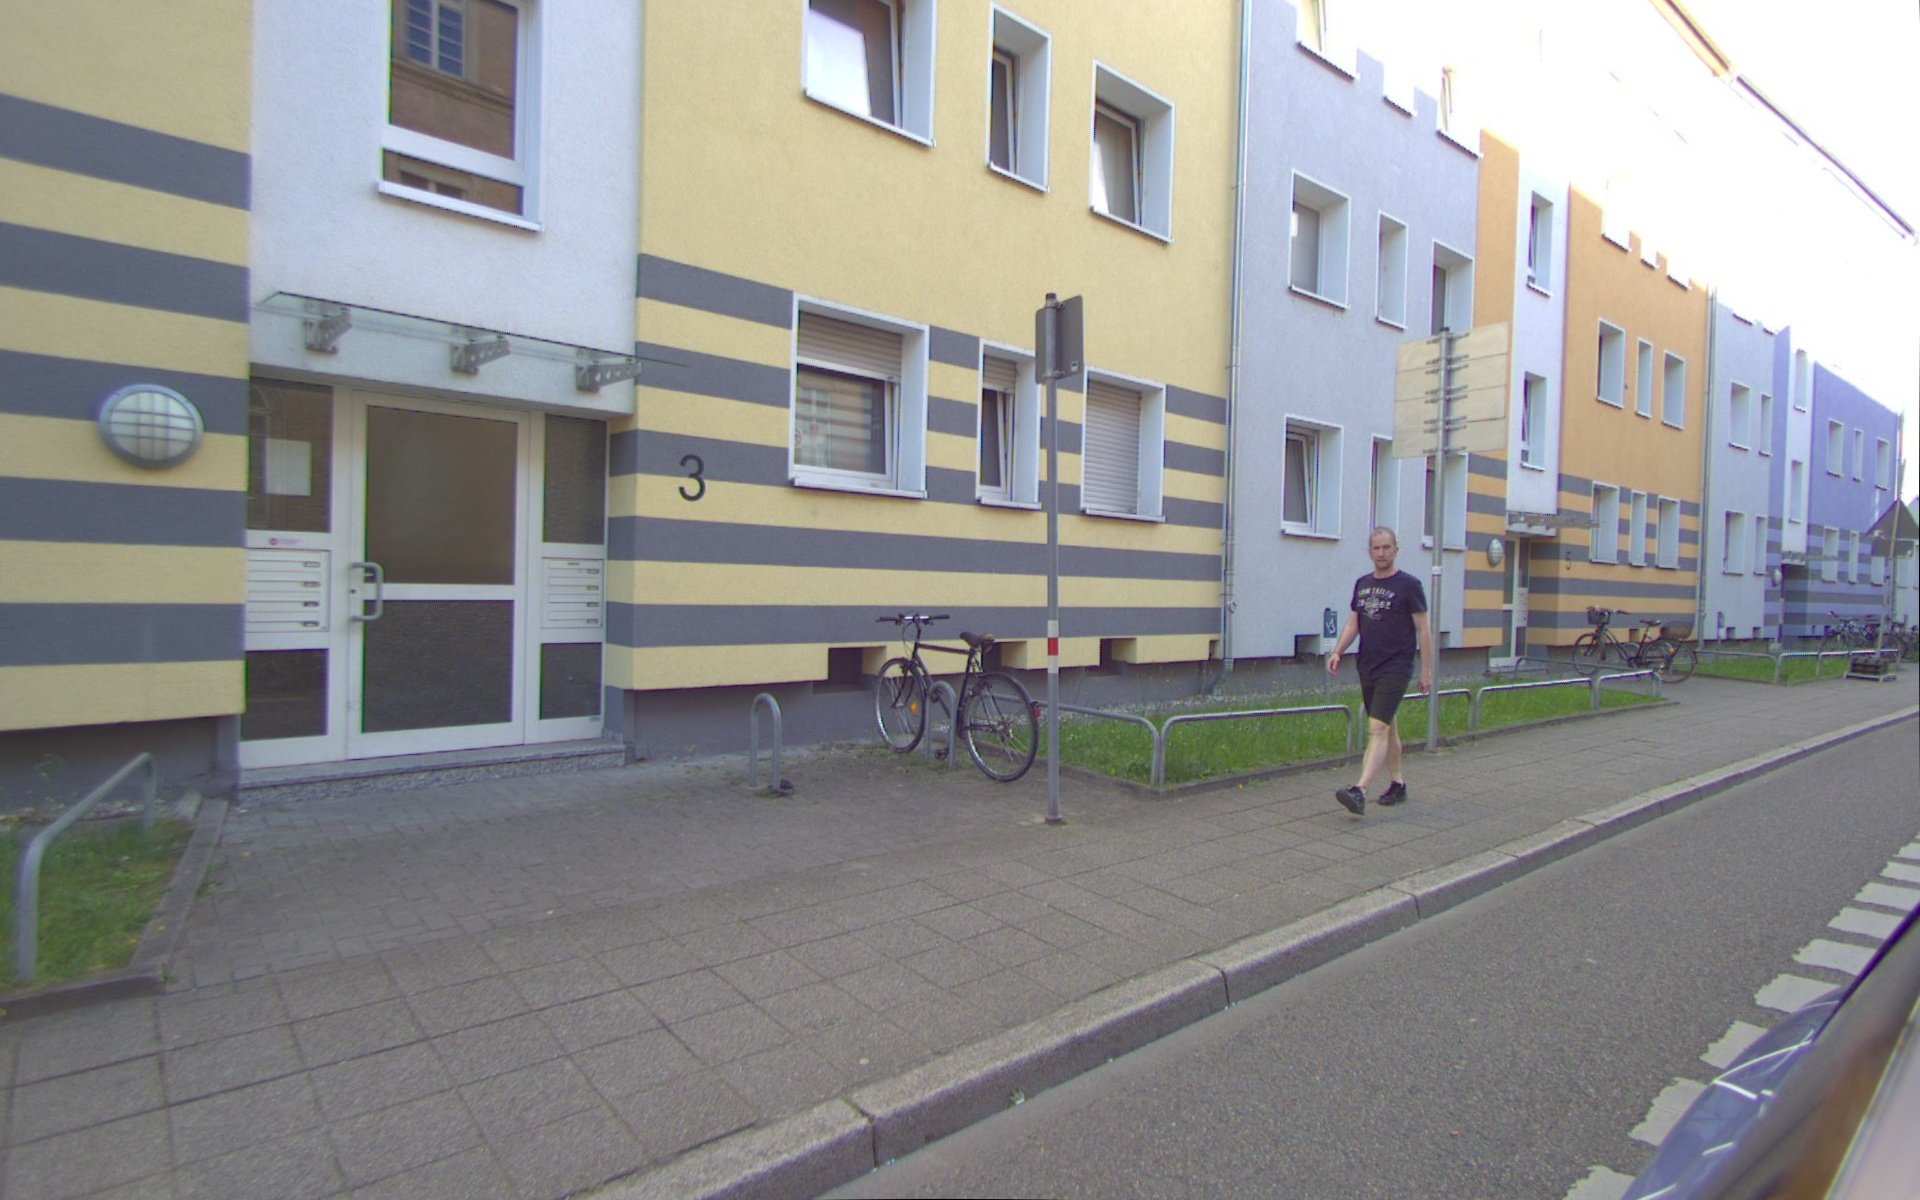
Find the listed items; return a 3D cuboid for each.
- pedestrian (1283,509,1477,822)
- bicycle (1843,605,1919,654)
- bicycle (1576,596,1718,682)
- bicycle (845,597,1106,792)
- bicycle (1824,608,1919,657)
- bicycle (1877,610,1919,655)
[{"bbox_3d":[2.650,0.366,6.389,0.898,1.810,0.646,1,4,-38],"label":"pedestrian"},{"bbox_3d":[23.247,0.732,25.263,0.625,1.095,1.711,1,2,-40],"label":"bicycle"},{"bbox_3d":[10.737,0.579,15.865,0.625,1.173,1.709,1,3,-42],"label":"bicycle"},{"bbox_3d":[0.041,0.572,7.047,0.625,1.074,1.946,1,3,-42],"label":"bicycle"},{"bbox_3d":[22.277,0.774,24.668,0.624,1.058,1.711,1,2,-39],"label":"bicycle"},{"bbox_3d":[24.165,0.837,25.338,0.625,1.048,1.709,1,3,-42],"label":"bicycle"}]
